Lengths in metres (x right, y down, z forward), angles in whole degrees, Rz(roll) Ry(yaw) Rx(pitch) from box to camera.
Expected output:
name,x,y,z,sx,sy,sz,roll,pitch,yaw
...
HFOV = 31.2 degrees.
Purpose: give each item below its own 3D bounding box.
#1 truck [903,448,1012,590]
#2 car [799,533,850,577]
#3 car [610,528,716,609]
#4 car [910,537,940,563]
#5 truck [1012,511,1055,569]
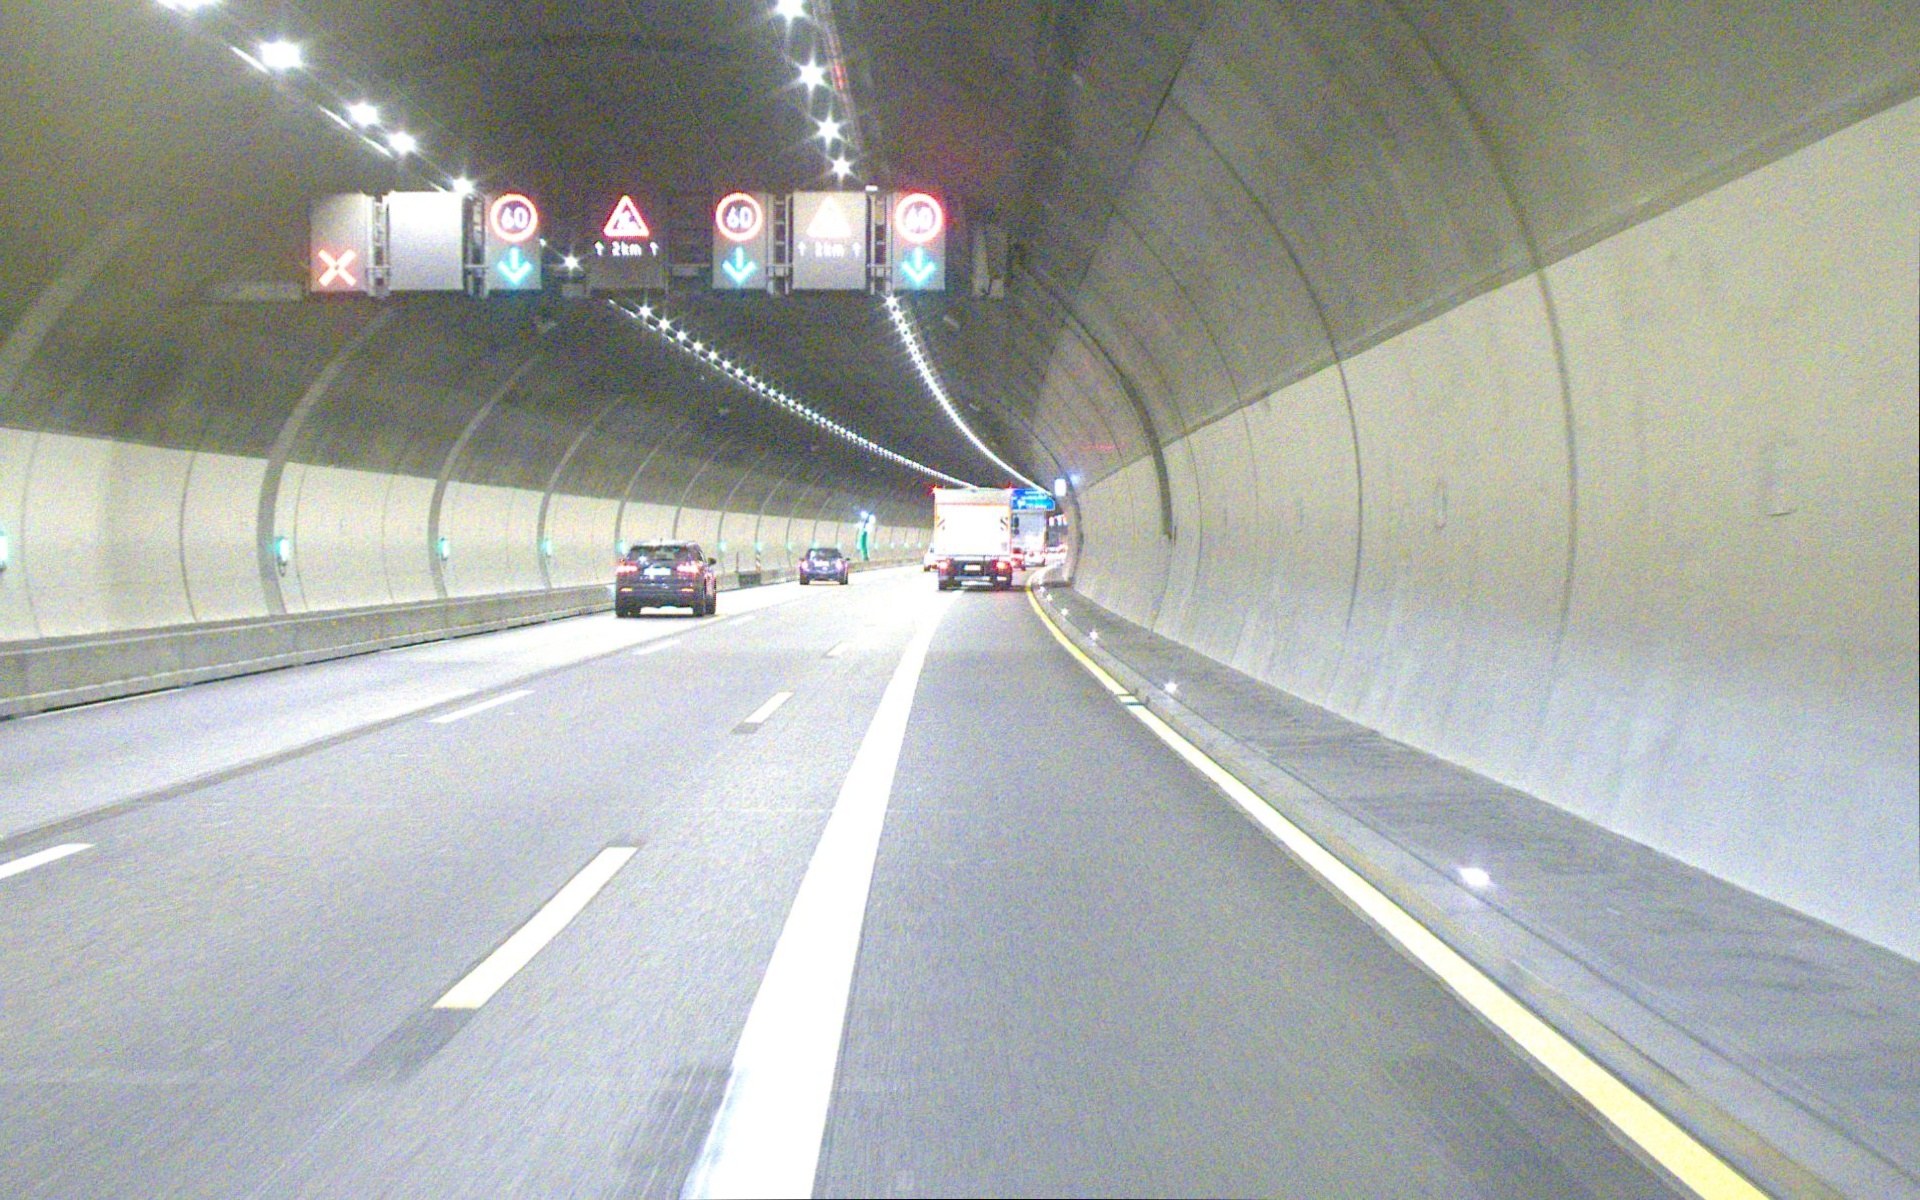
name,x,y,z,sx,sy,sz,roll,pitch,yaw
truck,-0.226,-2.822,122.062,3.278,4.634,17.288,-1,1,-2
car,-5.070,-1.701,128.705,1.812,1.514,4.001,0,2,-1
car,-6.082,-0.673,70.818,1.812,1.612,4.000,1,1,0
car,-1.956,-2.794,191.529,1.650,1.270,4.001,0,2,-1
truck,5.270,-4.326,247.637,2.923,4.034,14.029,-1,1,1
